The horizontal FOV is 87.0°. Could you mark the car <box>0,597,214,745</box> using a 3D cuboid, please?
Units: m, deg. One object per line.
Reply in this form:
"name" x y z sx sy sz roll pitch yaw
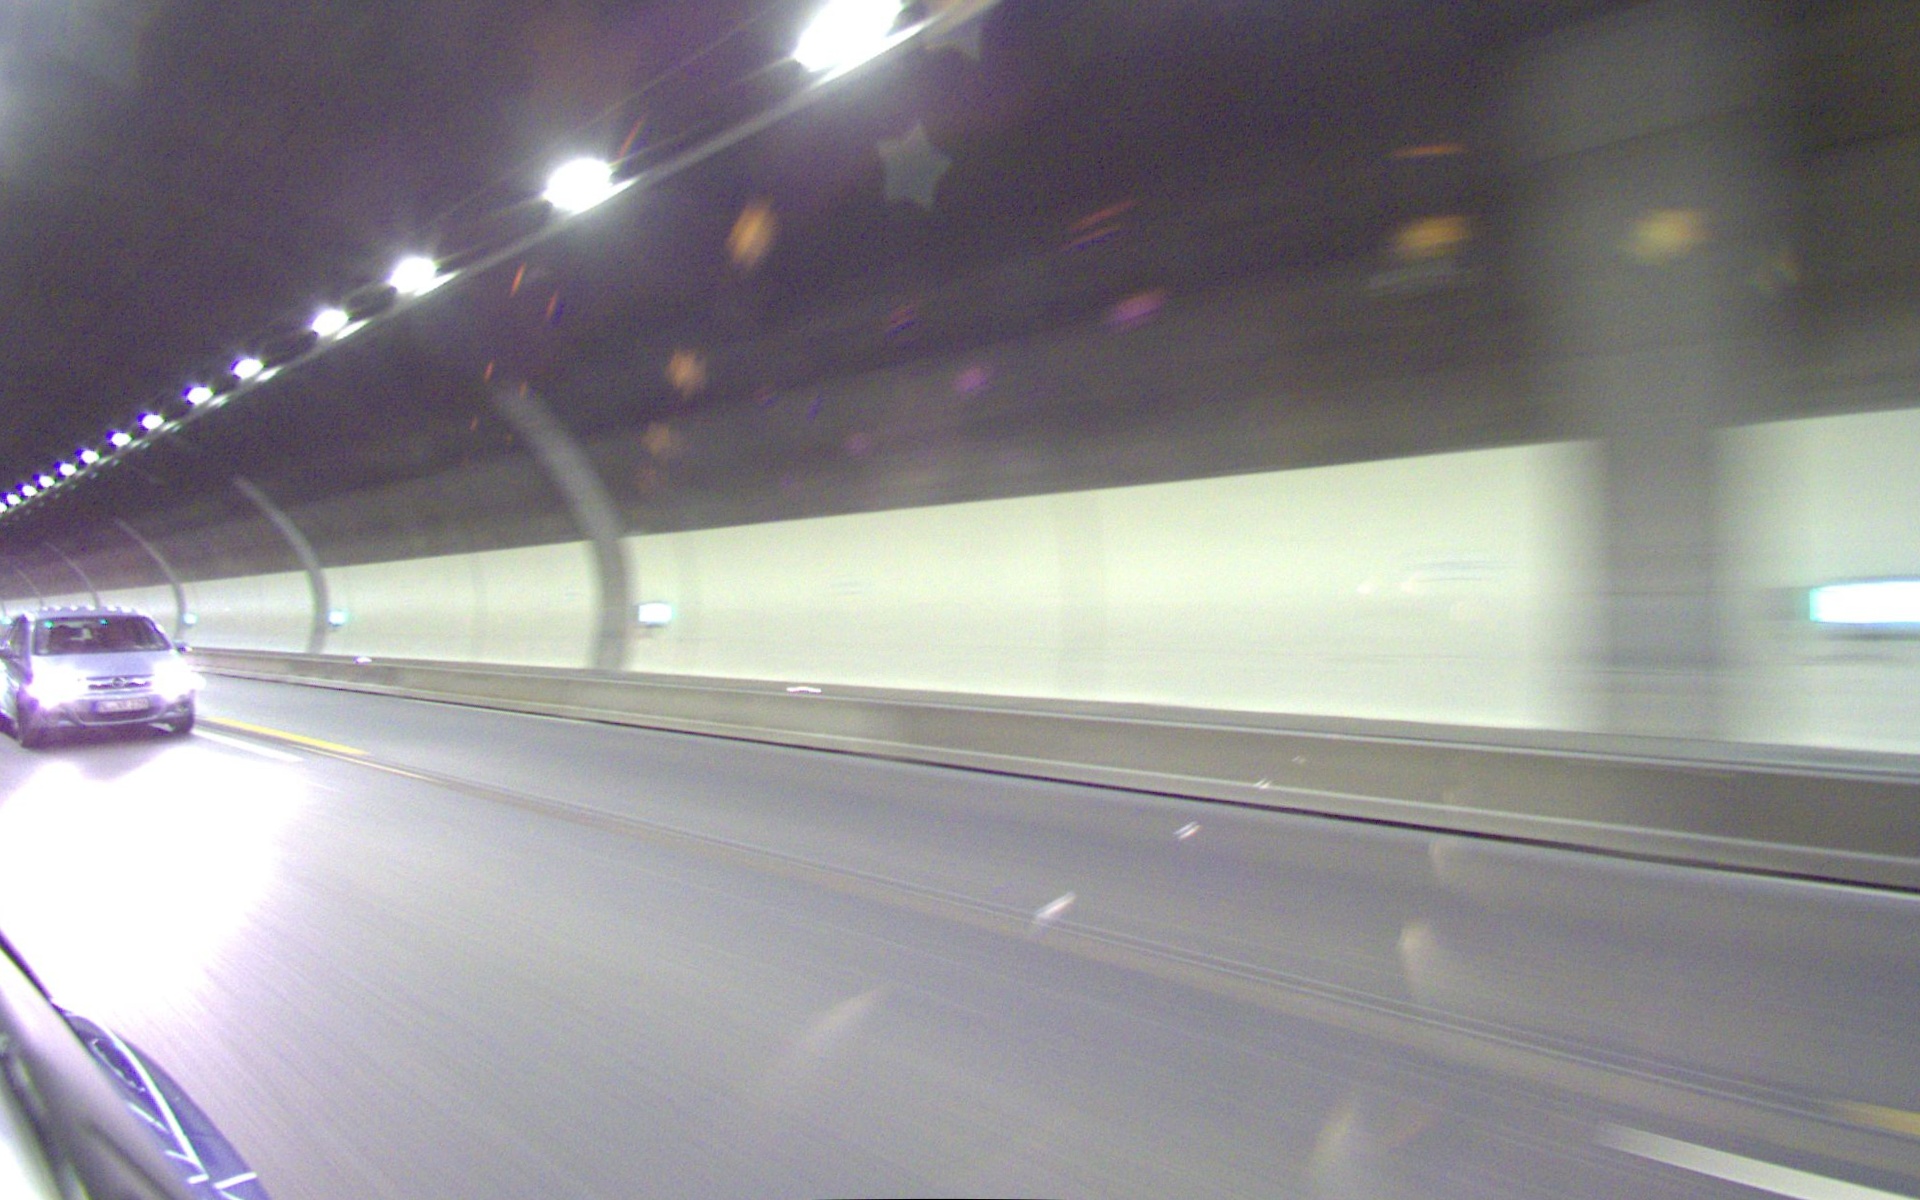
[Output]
"car" -11.164 0.786 13.038 4.097 1.584 1.743 -1 0 42
